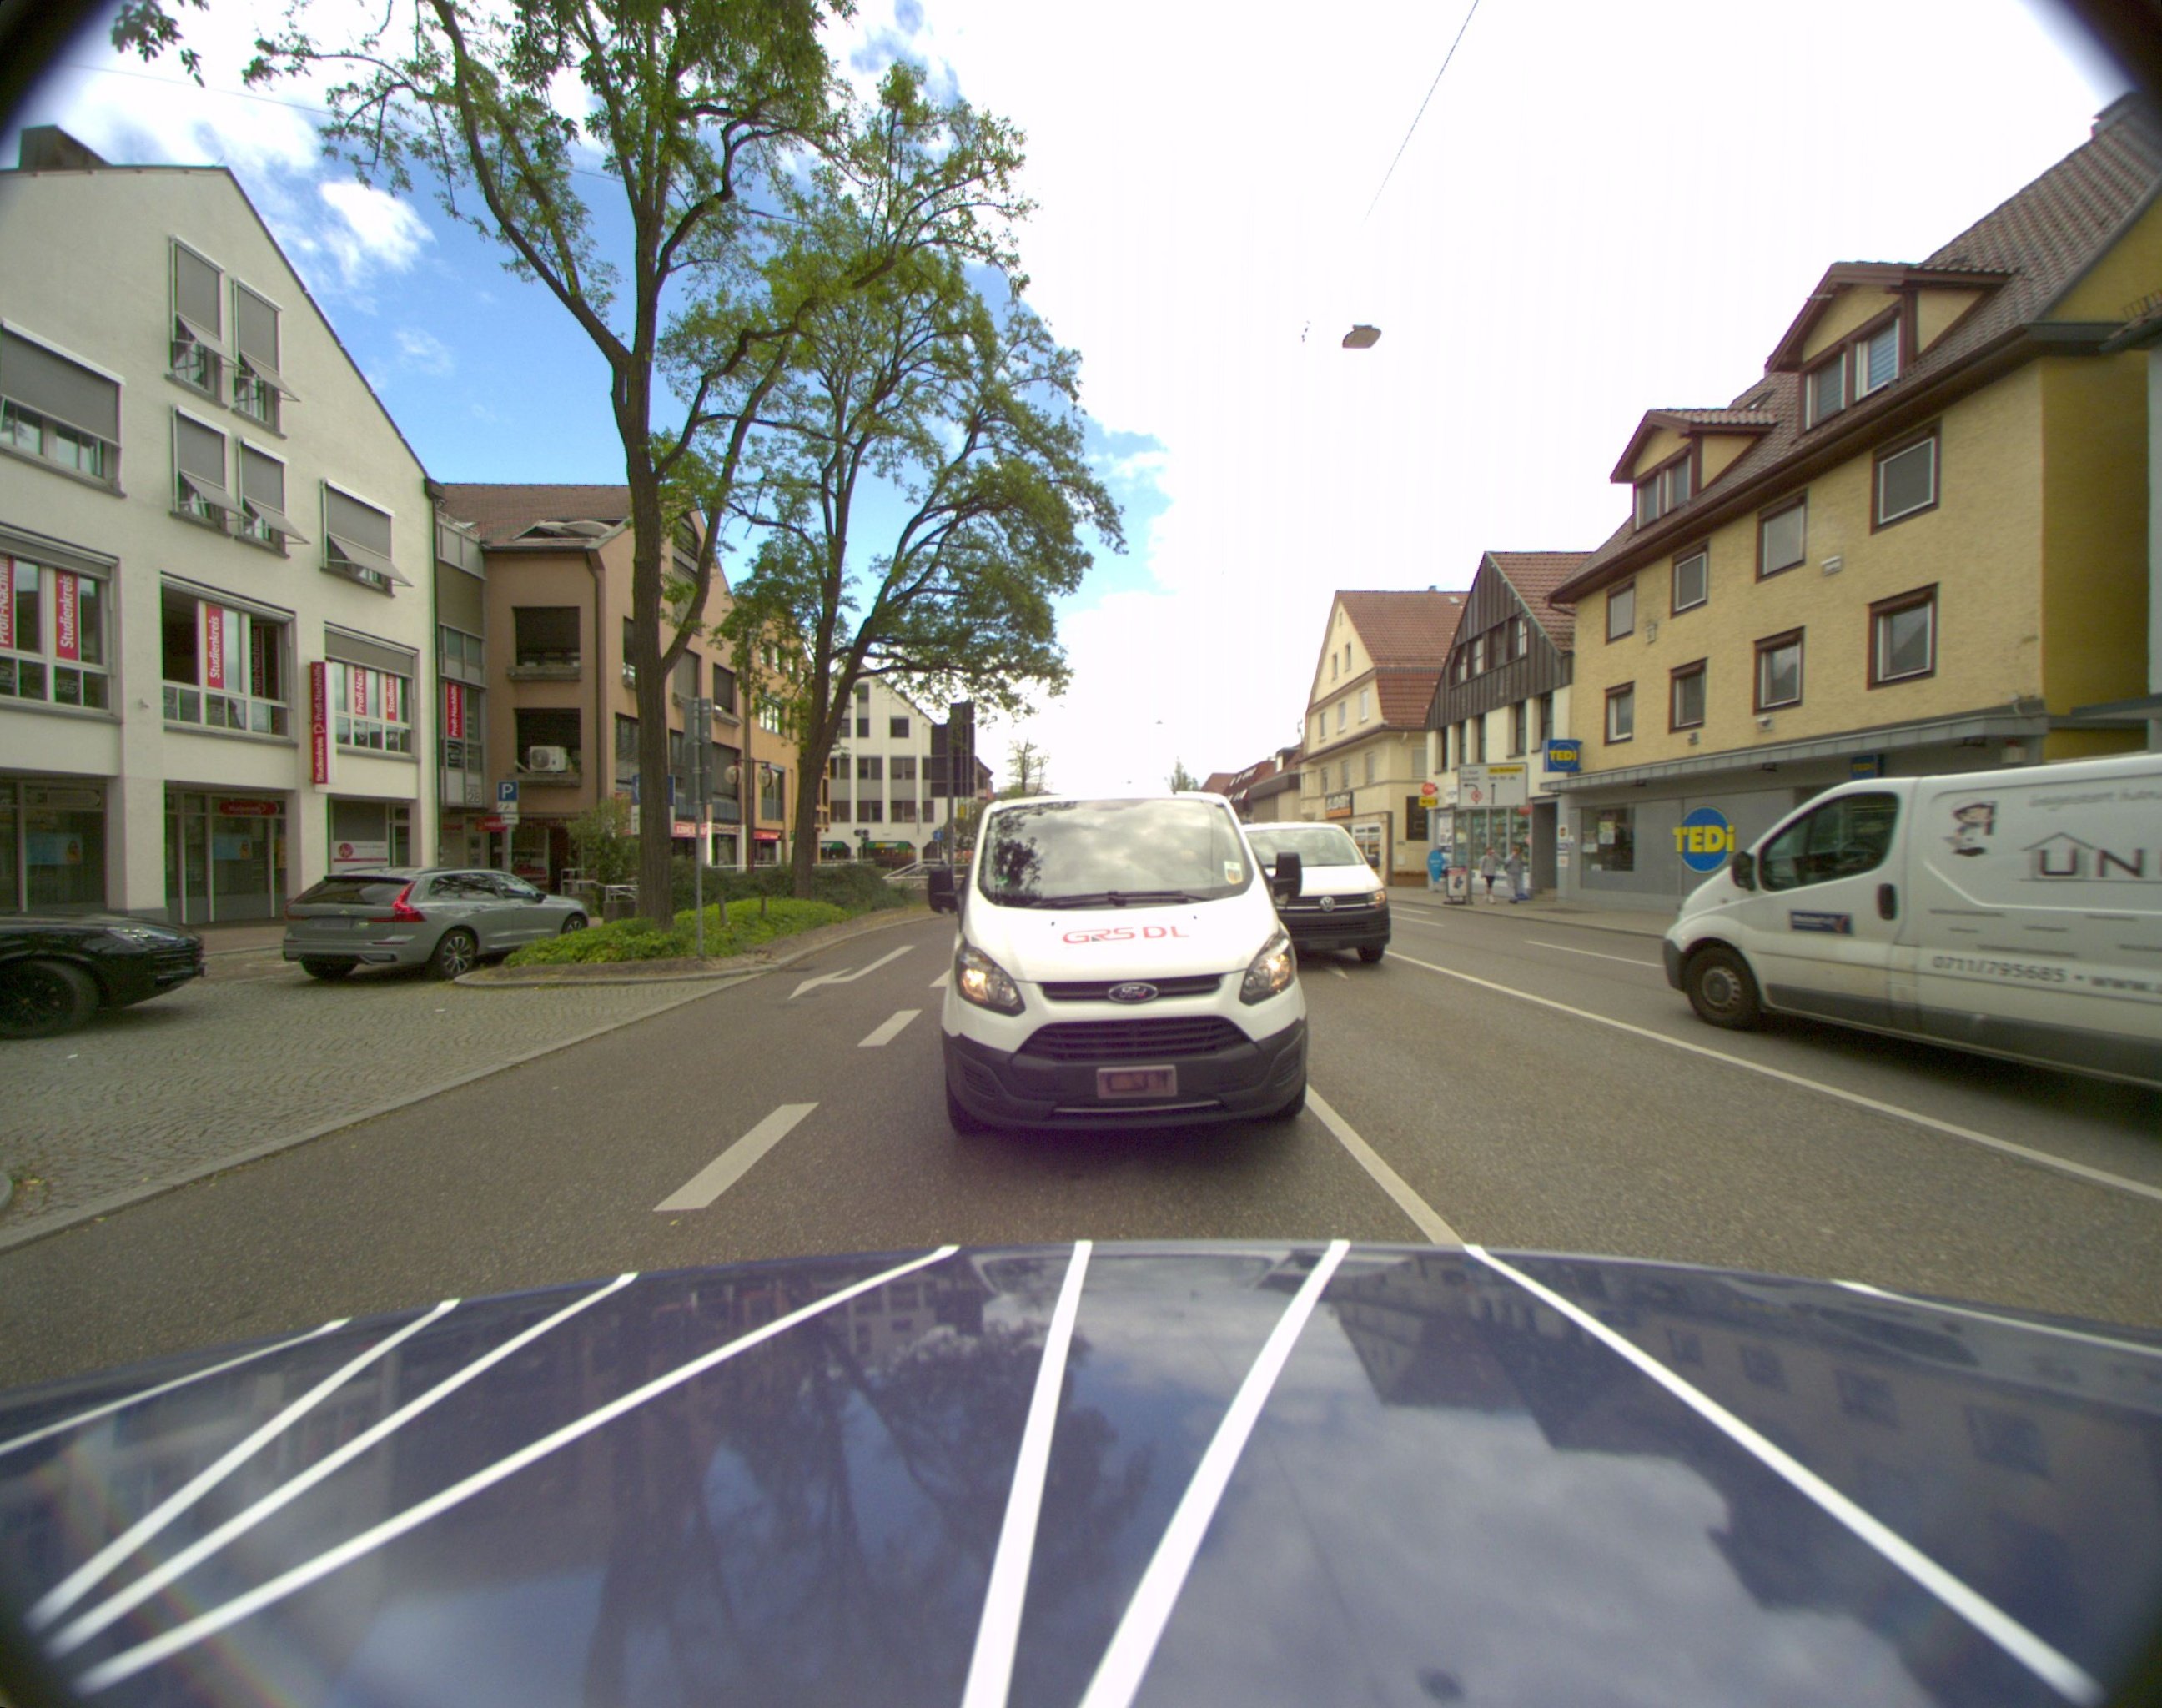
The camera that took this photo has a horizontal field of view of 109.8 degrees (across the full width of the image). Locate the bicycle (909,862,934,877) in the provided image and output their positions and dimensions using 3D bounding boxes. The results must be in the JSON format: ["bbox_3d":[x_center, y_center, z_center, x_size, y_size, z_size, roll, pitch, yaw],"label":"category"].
[{"bbox_3d":[-10.446,0.988,49.713,1.594,0.963,0.461,-1,1,-14],"label":"bicycle"}]

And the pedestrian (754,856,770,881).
[{"bbox_3d":[-22.763,1.049,54.239,0.887,1.747,0.943,-1,1,-11],"label":"pedestrian"}]

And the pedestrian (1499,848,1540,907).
[{"bbox_3d":[12.677,0.666,21.995,0.689,1.660,0.709,-3,1,0],"label":"pedestrian"}]

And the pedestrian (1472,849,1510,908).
[{"bbox_3d":[11.934,0.705,22.127,0.689,1.680,0.742,-2,1,0],"label":"pedestrian"}]

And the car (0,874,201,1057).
[{"bbox_3d":[-11.685,1.071,6.938,1.853,1.660,4.673,1,0,44],"label":"car"}]

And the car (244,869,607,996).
[{"bbox_3d":[-10.295,1.099,12.602,1.999,1.586,4.762,0,0,-2],"label":"car"}]

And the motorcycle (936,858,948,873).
[{"bbox_3d":[-9.899,0.821,54.330,0.464,1.062,1.995,-1,0,0],"label":"motorcycle"}]

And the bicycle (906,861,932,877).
[{"bbox_3d":[-10.452,0.939,49.084,1.594,0.996,0.414,-1,1,-13],"label":"bicycle"}]

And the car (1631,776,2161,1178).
[{"bbox_3d":[6.047,0.583,4.357,1.999,1.877,5.158,1,0,-1],"label":"car"}]

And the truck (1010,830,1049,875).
[{"bbox_3d":[-4.197,-0.153,63.770,2.446,3.464,8.346,-2,1,1],"label":"truck"}]

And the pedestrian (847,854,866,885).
[{"bbox_3d":[-13.571,0.939,46.012,0.871,1.812,0.785,-2,1,-4],"label":"pedestrian"}]

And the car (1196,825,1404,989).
[{"bbox_3d":[3.001,0.640,11.557,1.830,1.948,4.852,-1,0,1],"label":"car"}]

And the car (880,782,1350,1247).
[{"bbox_3d":[0.156,0.688,5.852,1.964,1.948,5.164,-2,0,0],"label":"car"}]
